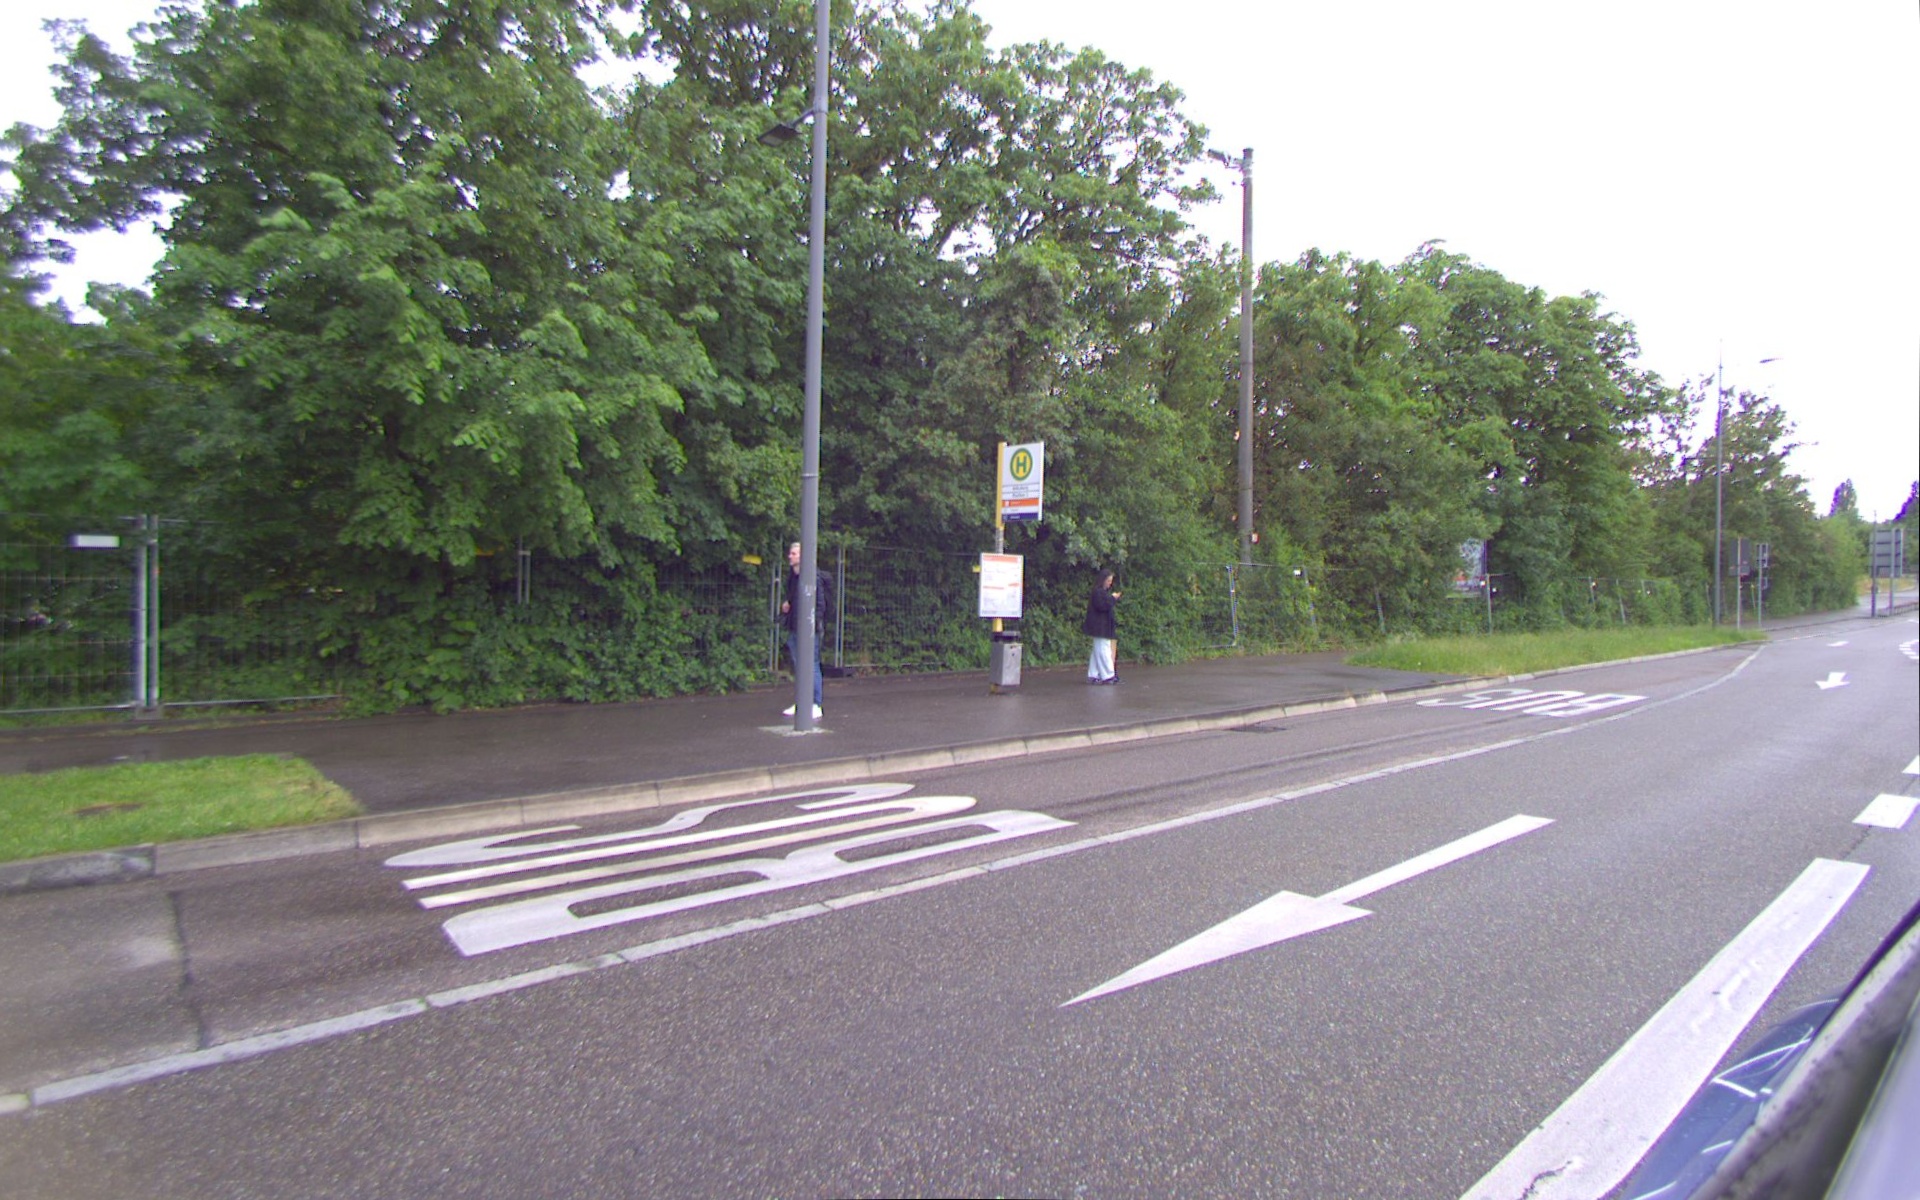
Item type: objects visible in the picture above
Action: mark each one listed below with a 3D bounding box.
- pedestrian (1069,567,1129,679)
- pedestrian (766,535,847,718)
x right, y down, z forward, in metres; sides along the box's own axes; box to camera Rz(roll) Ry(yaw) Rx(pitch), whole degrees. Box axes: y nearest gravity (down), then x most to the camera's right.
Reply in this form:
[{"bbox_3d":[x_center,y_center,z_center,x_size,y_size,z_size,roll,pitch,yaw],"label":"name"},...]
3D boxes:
[{"bbox_3d":[2.097,0.330,15.255,0.650,1.648,0.588,0,1,-40],"label":"pedestrian"},{"bbox_3d":[-1.732,0.275,11.365,0.587,1.973,0.742,0,1,-40],"label":"pedestrian"}]
